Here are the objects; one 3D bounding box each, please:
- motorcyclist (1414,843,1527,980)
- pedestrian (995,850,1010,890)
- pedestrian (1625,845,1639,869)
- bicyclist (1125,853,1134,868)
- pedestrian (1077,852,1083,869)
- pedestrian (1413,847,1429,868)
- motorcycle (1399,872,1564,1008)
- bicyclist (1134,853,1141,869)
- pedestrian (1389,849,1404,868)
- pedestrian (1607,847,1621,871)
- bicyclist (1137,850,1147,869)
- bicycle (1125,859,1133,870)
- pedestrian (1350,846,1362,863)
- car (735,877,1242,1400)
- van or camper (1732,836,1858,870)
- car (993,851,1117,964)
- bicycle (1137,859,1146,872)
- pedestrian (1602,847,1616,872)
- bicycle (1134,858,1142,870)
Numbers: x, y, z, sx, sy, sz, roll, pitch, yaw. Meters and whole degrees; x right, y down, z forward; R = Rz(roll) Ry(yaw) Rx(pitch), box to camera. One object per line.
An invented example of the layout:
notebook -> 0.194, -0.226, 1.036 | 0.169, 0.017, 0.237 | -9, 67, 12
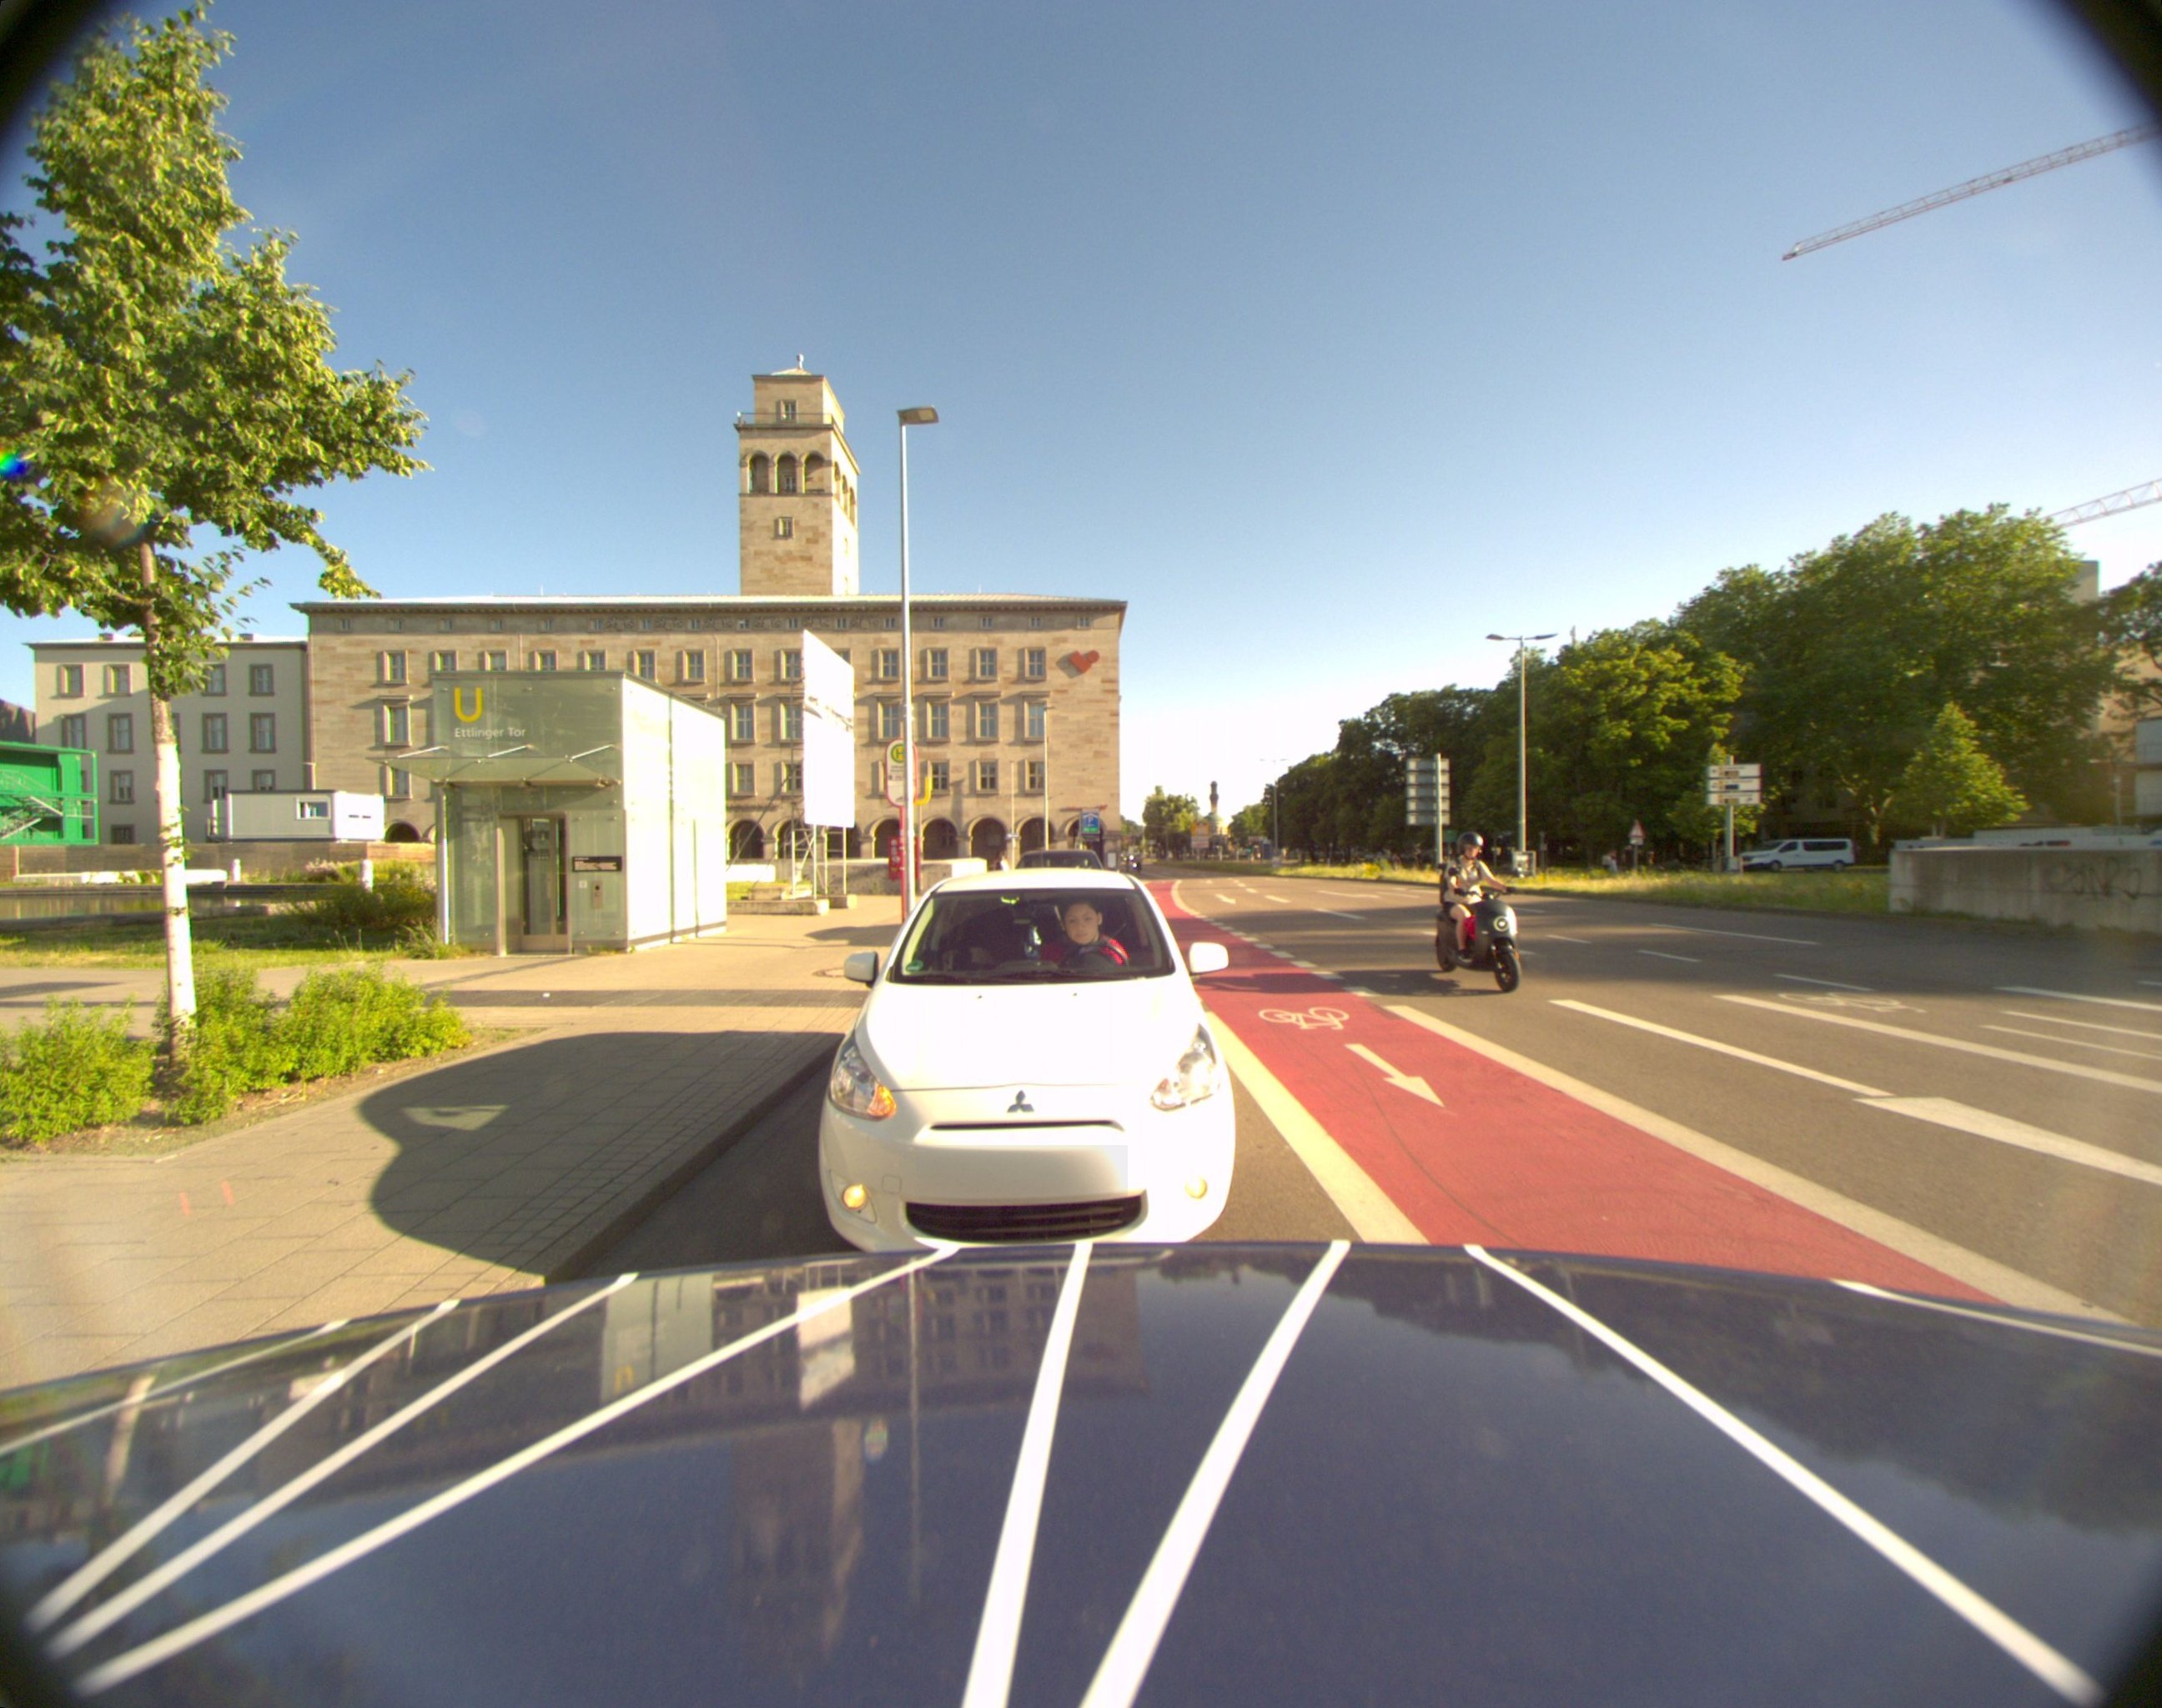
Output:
motorcyclist -> 4.334, 0.611, 8.518 | 0.823, 1.455, 0.877 | -1, 1, 1
pedestrian -> -3.409, 0.697, 32.974 | 0.552, 1.692, 0.553 | -1, 1, -1
pedestrian -> 33.940, 0.173, 46.790 | 0.499, 1.502, 0.494 | -1, 1, 1
bicyclist -> 5.110, 0.717, 80.251 | 0.823, 1.568, 0.877 | -1, 1, 1
pedestrian -> -0.131, 0.818, 95.685 | 0.612, 2.002, 0.727 | -2, 1, 0
pedestrian -> 32.442, 0.352, 72.595 | 1.126, 1.952, 0.815 | -2, 1, 1
motorcycle -> 4.350, 0.875, 8.446 | 0.828, 1.273, 1.944 | -1, 0, 1
bicyclist -> 5.989, 0.707, 80.071 | 0.674, 1.649, 0.877 | -1, 1, 1
pedestrian -> 32.354, 0.443, 77.859 | 0.951, 1.952, 1.058 | -2, 1, -14
pedestrian -> 32.736, 0.304, 46.654 | 0.499, 1.502, 0.494 | -1, 1, 1
bicyclist -> 5.518, 0.510, 68.922 | 0.807, 1.690, 0.852 | -1, 1, 1
bicycle -> 5.072, 1.098, 80.328 | 0.689, 1.185, 1.506 | -1, 1, 1
pedestrian -> 32.252, 0.071, 89.103 | 0.841, 2.002, 0.955 | -3, 1, -34
car -> -0.252, 0.929, 4.304 | 1.519, 1.447, 4.000 | -1, 0, 1
van or camper -> 42.242, -0.049, 45.057 | 5.499, 1.934, 1.951 | -1, 0, 4
car -> -0.359, 0.793, 13.320 | 1.833, 1.660, 4.000 | -1, 0, 1
bicycle -> 5.500, 1.068, 68.985 | 0.741, 1.140, 1.890 | -1, 0, 1
pedestrian -> 32.236, 0.326, 46.406 | 0.499, 1.502, 0.494 | -1, 1, 1
bicycle -> 6.002, 1.062, 80.098 | 0.689, 1.185, 1.506 | -1, 1, 1
